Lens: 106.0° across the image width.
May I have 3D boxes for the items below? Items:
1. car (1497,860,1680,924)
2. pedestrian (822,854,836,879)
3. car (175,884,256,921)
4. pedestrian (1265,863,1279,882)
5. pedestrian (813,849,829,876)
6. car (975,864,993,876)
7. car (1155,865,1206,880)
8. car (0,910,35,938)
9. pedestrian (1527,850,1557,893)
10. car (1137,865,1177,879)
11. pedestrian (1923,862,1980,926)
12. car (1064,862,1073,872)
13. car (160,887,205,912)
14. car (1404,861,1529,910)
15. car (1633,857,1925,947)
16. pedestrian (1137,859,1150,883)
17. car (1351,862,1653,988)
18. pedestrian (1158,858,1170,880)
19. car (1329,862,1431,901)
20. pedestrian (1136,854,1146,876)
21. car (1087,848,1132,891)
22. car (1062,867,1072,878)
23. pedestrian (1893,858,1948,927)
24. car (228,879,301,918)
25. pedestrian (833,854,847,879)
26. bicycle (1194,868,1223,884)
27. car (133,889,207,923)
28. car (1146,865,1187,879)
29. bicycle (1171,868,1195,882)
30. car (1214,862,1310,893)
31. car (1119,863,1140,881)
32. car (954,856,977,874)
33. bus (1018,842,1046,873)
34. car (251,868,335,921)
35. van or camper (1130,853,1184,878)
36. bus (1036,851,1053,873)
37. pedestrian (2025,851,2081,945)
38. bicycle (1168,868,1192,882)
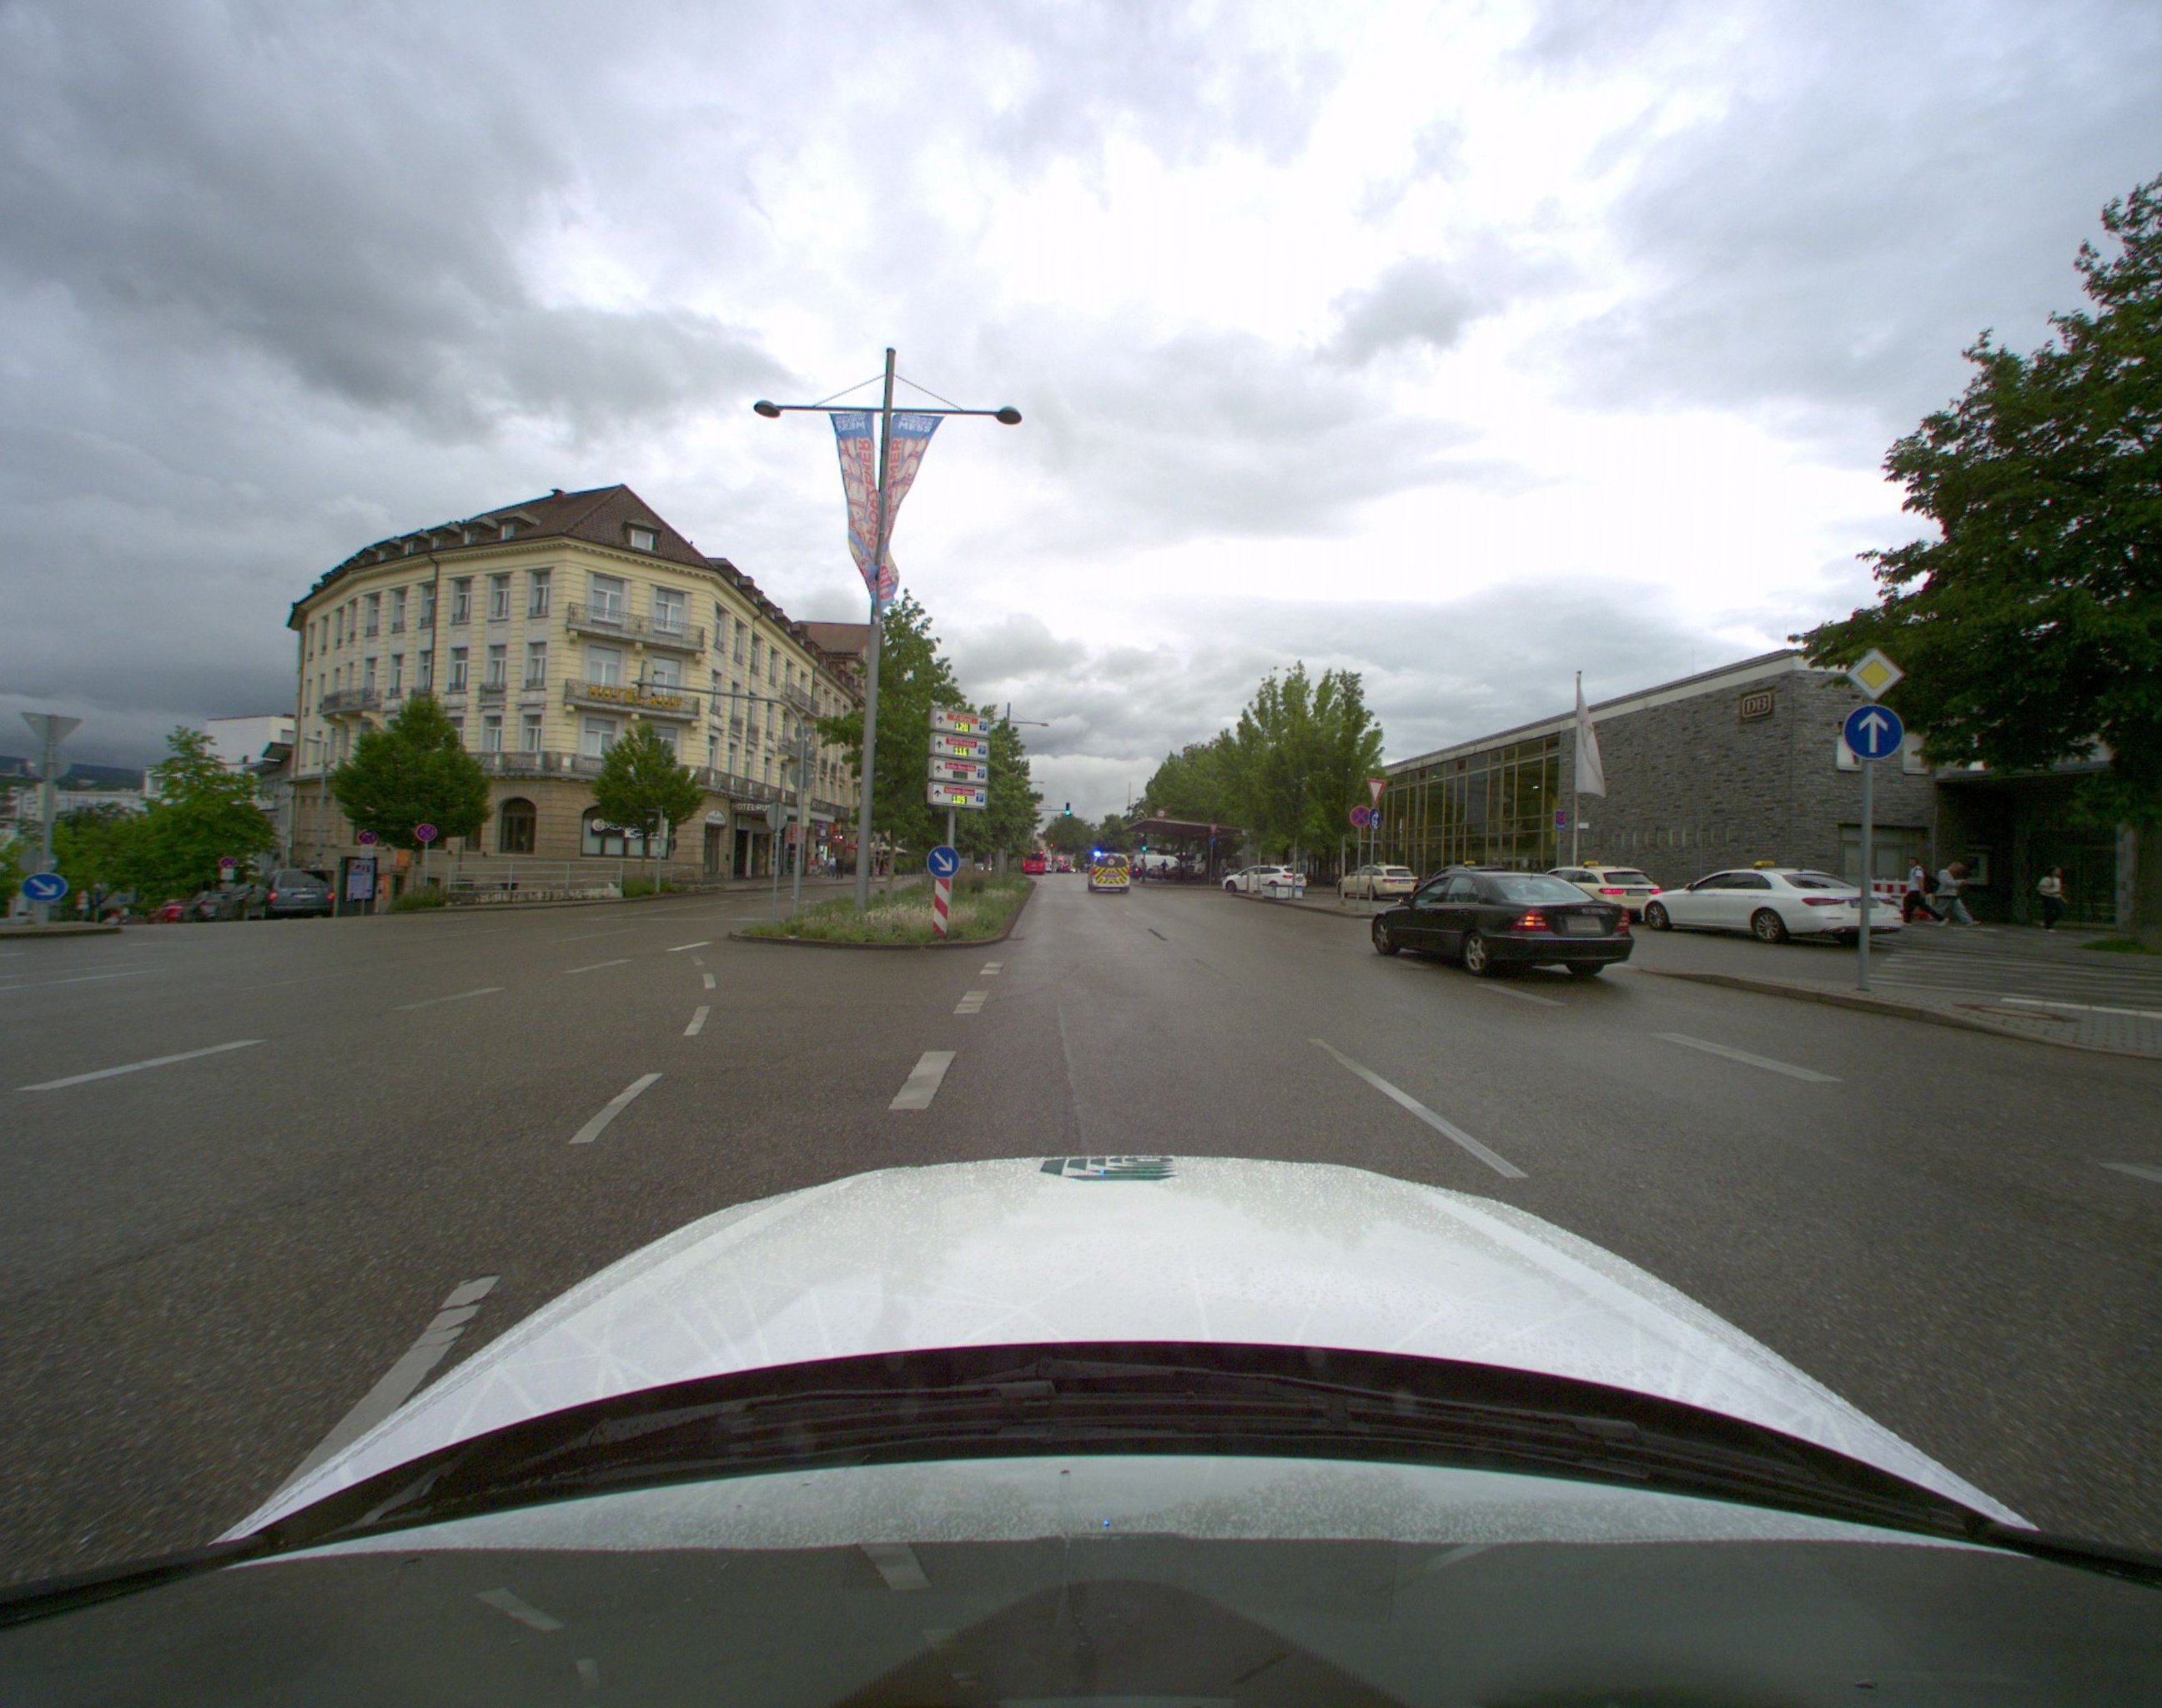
[{"bbox_3d":[14.097,0.979,23.061,1.988,1.599,4.955,-1,-1,-2],"label":"car"},{"bbox_3d":[-16.888,0.859,54.574,0.679,1.664,0.807,-1,-1,1],"label":"pedestrian"},{"bbox_3d":[-38.151,2.098,35.881,3.948,1.478,1.781,-1,-1,33],"label":"car"},{"bbox_3d":[15.873,1.571,67.578,0.865,1.559,0.811,0,-1,-9],"label":"pedestrian"},{"bbox_3d":[-17.687,0.612,55.356,0.877,1.813,0.750,0,-1,-2],"label":"pedestrian"},{"bbox_3d":[-13.058,2.101,109.657,1.988,1.543,4.629,-1,-1,-2],"label":"car"},{"bbox_3d":[8.916,1.690,73.194,4.201,1.325,1.826,1,-2,-22],"label":"car"},{"bbox_3d":[-70.357,4.586,53.443,3.948,1.684,2.013,-1,-1,37],"label":"car"},{"bbox_3d":[17.637,0.678,31.155,0.787,1.626,0.727,-2,-2,44],"label":"pedestrian"},{"bbox_3d":[8.191,1.948,87.573,4.010,1.443,1.847,1,-2,-29],"label":"car"},{"bbox_3d":[22.002,0.997,20.598,0.702,1.580,0.775,-1,-1,22],"label":"pedestrian"},{"bbox_3d":[-2.708,2.851,178.961,1.988,2.014,3.997,-1,-1,-2],"label":"car"},{"bbox_3d":[-58.318,2.939,52.840,3.948,1.478,1.781,-1,-1,39],"label":"car"},{"bbox_3d":[13.735,1.060,29.410,1.989,1.599,4.952,1,-1,-3],"label":"car"},{"bbox_3d":[14.279,0.915,17.177,1.875,1.599,4.899,-1,-1,-2],"label":"car"},{"bbox_3d":[4.410,1.205,57.559,0.746,1.747,0.833,1,-2,-10],"label":"pedestrian"},{"bbox_3d":[5.775,0.877,11.920,1.693,1.466,4.440,0,-1,-7],"label":"car"},{"bbox_3d":[7.011,1.261,68.588,0.854,1.835,1.189,0,-2,-2],"label":"pedestrian"},{"bbox_3d":[12.983,1.146,35.738,1.993,1.599,4.941,0,-1,-10],"label":"car"},{"bbox_3d":[5.621,1.035,76.203,0.830,2.014,0.887,0,-1,-6],"label":"pedestrian"},{"bbox_3d":[1.364,0.782,41.051,1.988,2.014,5.058,-1,-1,-1],"label":"car"},{"bbox_3d":[-2.745,3.700,163.431,1.988,2.014,3.997,-1,-1,-2],"label":"car"},{"bbox_3d":[20.919,0.940,20.299,0.647,1.667,0.771,0,-1,-24],"label":"pedestrian"},{"bbox_3d":[-33.477,1.768,33.380,3.948,1.398,1.645,0,-1,38],"label":"car"},{"bbox_3d":[-16.163,0.812,54.653,0.680,1.664,0.806,0,-1,-2],"label":"pedestrian"},{"bbox_3d":[8.437,1.443,53.845,1.823,1.056,0.420,-1,-1,-3],"label":"bicycle"},{"bbox_3d":[-43.493,2.448,38.881,3.958,1.478,1.781,-1,-1,33],"label":"car"},{"bbox_3d":[8.989,1.903,85.409,4.010,1.443,1.847,1,-2,-29],"label":"car"},{"bbox_3d":[7.791,1.579,62.359,1.833,1.056,0.417,0,-1,-20],"label":"bicycle"},{"bbox_3d":[9.313,1.206,42.186,1.773,1.546,4.720,2,-2,-41],"label":"car"},{"bbox_3d":[4.473,1.683,76.125,1.851,1.569,4.001,1,-2,2],"label":"car"},{"bbox_3d":[-13.184,1.253,93.209,1.987,2.014,4.999,-1,-1,0],"label":"car"},{"bbox_3d":[-6.814,0.554,111.543,3.538,3.980,11.152,0,-1,-4],"label":"bus"},{"bbox_3d":[-28.490,1.411,29.405,3.948,1.759,1.645,0,-1,38],"label":"car"},{"bbox_3d":[8.794,1.327,93.665,5.982,2.763,2.178,0,-1,-29],"label":"van or camper"},{"bbox_3d":[-6.565,1.423,144.081,2.799,3.747,10.431,-1,-1,-3],"label":"bus"},{"bbox_3d":[22.907,1.015,19.194,0.800,2.164,0.715,0,-2,-33],"label":"pedestrian"},{"bbox_3d":[7.667,1.588,62.801,1.833,1.056,0.417,0,-1,-20],"label":"bicycle"}]
